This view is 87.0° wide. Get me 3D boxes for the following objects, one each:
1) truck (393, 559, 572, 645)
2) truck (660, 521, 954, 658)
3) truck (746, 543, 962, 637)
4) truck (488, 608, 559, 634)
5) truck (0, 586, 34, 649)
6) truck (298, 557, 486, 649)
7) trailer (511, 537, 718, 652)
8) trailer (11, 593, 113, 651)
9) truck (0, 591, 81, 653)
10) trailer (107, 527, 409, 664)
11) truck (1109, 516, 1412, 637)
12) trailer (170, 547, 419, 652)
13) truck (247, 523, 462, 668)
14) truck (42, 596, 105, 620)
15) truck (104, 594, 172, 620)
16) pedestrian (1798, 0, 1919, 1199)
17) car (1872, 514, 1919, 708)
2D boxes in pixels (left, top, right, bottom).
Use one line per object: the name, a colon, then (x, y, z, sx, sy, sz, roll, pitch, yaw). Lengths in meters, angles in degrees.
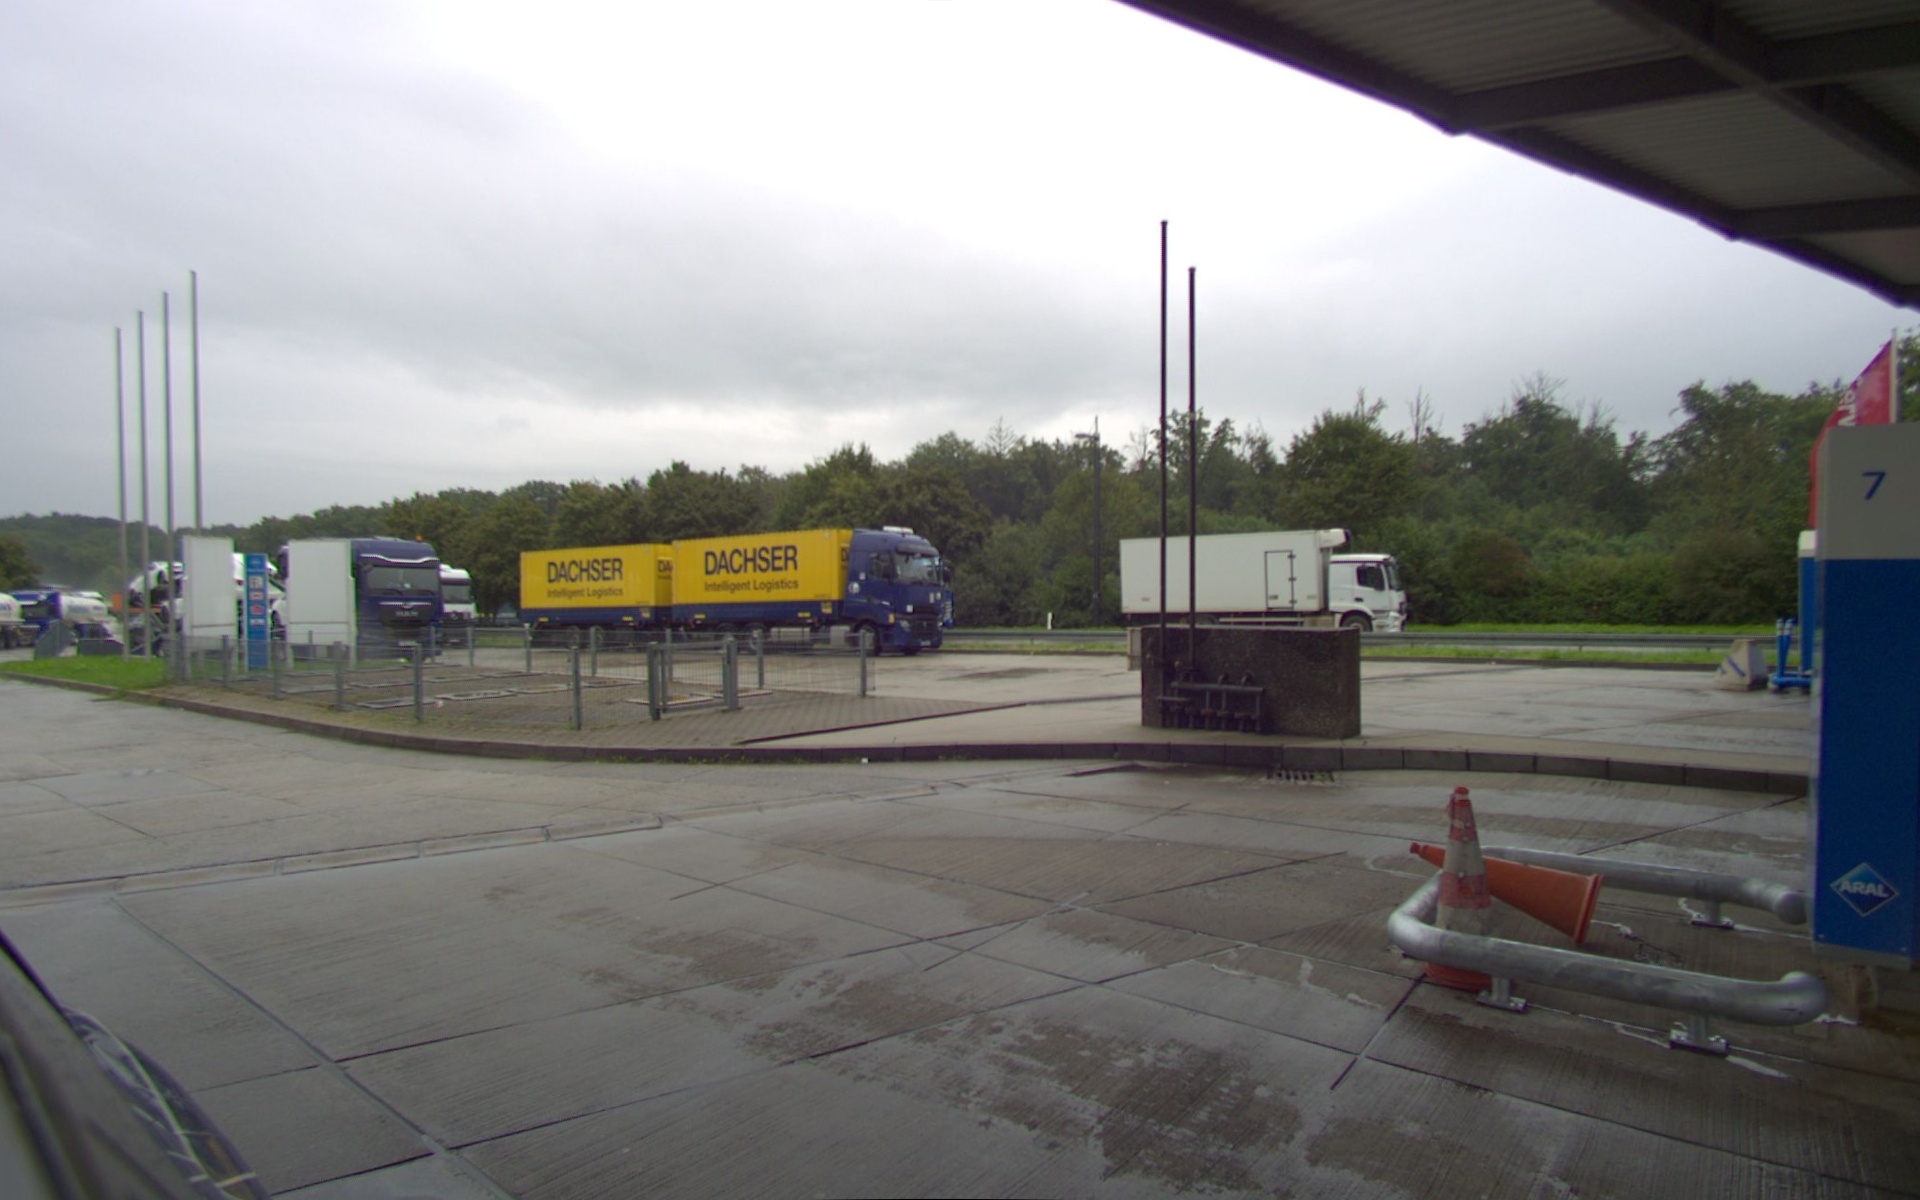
truck: (-24.780, 0.144, 52.267, 10.433, 4.063, 2.961, -1, 0, 30)
truck: (-5.390, -0.269, 33.947, 10.608, 4.063, 2.743, -1, 0, 33)
truck: (-5.140, -0.373, 47.682, 10.433, 4.063, 2.961, -1, 0, 30)
truck: (-40.402, 1.980, 93.654, 6.158, 2.321, 3.101, -1, -1, 33)
truck: (-55.558, 1.021, 55.008, 3.196, 3.591, 12.013, -1, 0, -19)
truck: (-27.301, 0.179, 48.438, 10.433, 4.063, 2.961, -1, 0, 30)
trailer: (-13.546, -0.164, 39.281, 8.833, 4.063, 2.743, -1, 0, 33)
trailer: (-62.269, 1.438, 70.474, 2.854, 3.666, 10.605, -1, 0, -28)
truck: (-59.424, 1.374, 64.987, 3.000, 3.795, 6.486, -1, 0, -27)
trailer: (-25.417, -0.054, 35.916, 16.563, 4.063, 2.957, -1, 0, 34)
truck: (11.012, -0.733, 37.727, 10.433, 4.063, 2.961, -1, 0, 30)
trailer: (-29.023, 0.037, 43.736, 13.747, 4.063, 2.962, -1, 0, 29)
truck: (-18.993, -0.112, 31.613, 7.244, 4.063, 2.957, -1, 0, 34)
truck: (-137.155, 1.259, 156.391, 16.515, 3.591, 3.215, -1, 0, 34)
truck: (-115.064, 1.025, 141.566, 14.626, 3.591, 3.215, -1, -1, 34)
pedestrian: (0.995, 0.374, 0.521, 0.839, 1.747, 0.786, -1, -1, 40)
car: (14.874, 0.113, 12.372, 5.272, 2.482, 2.298, -1, -2, 37)
